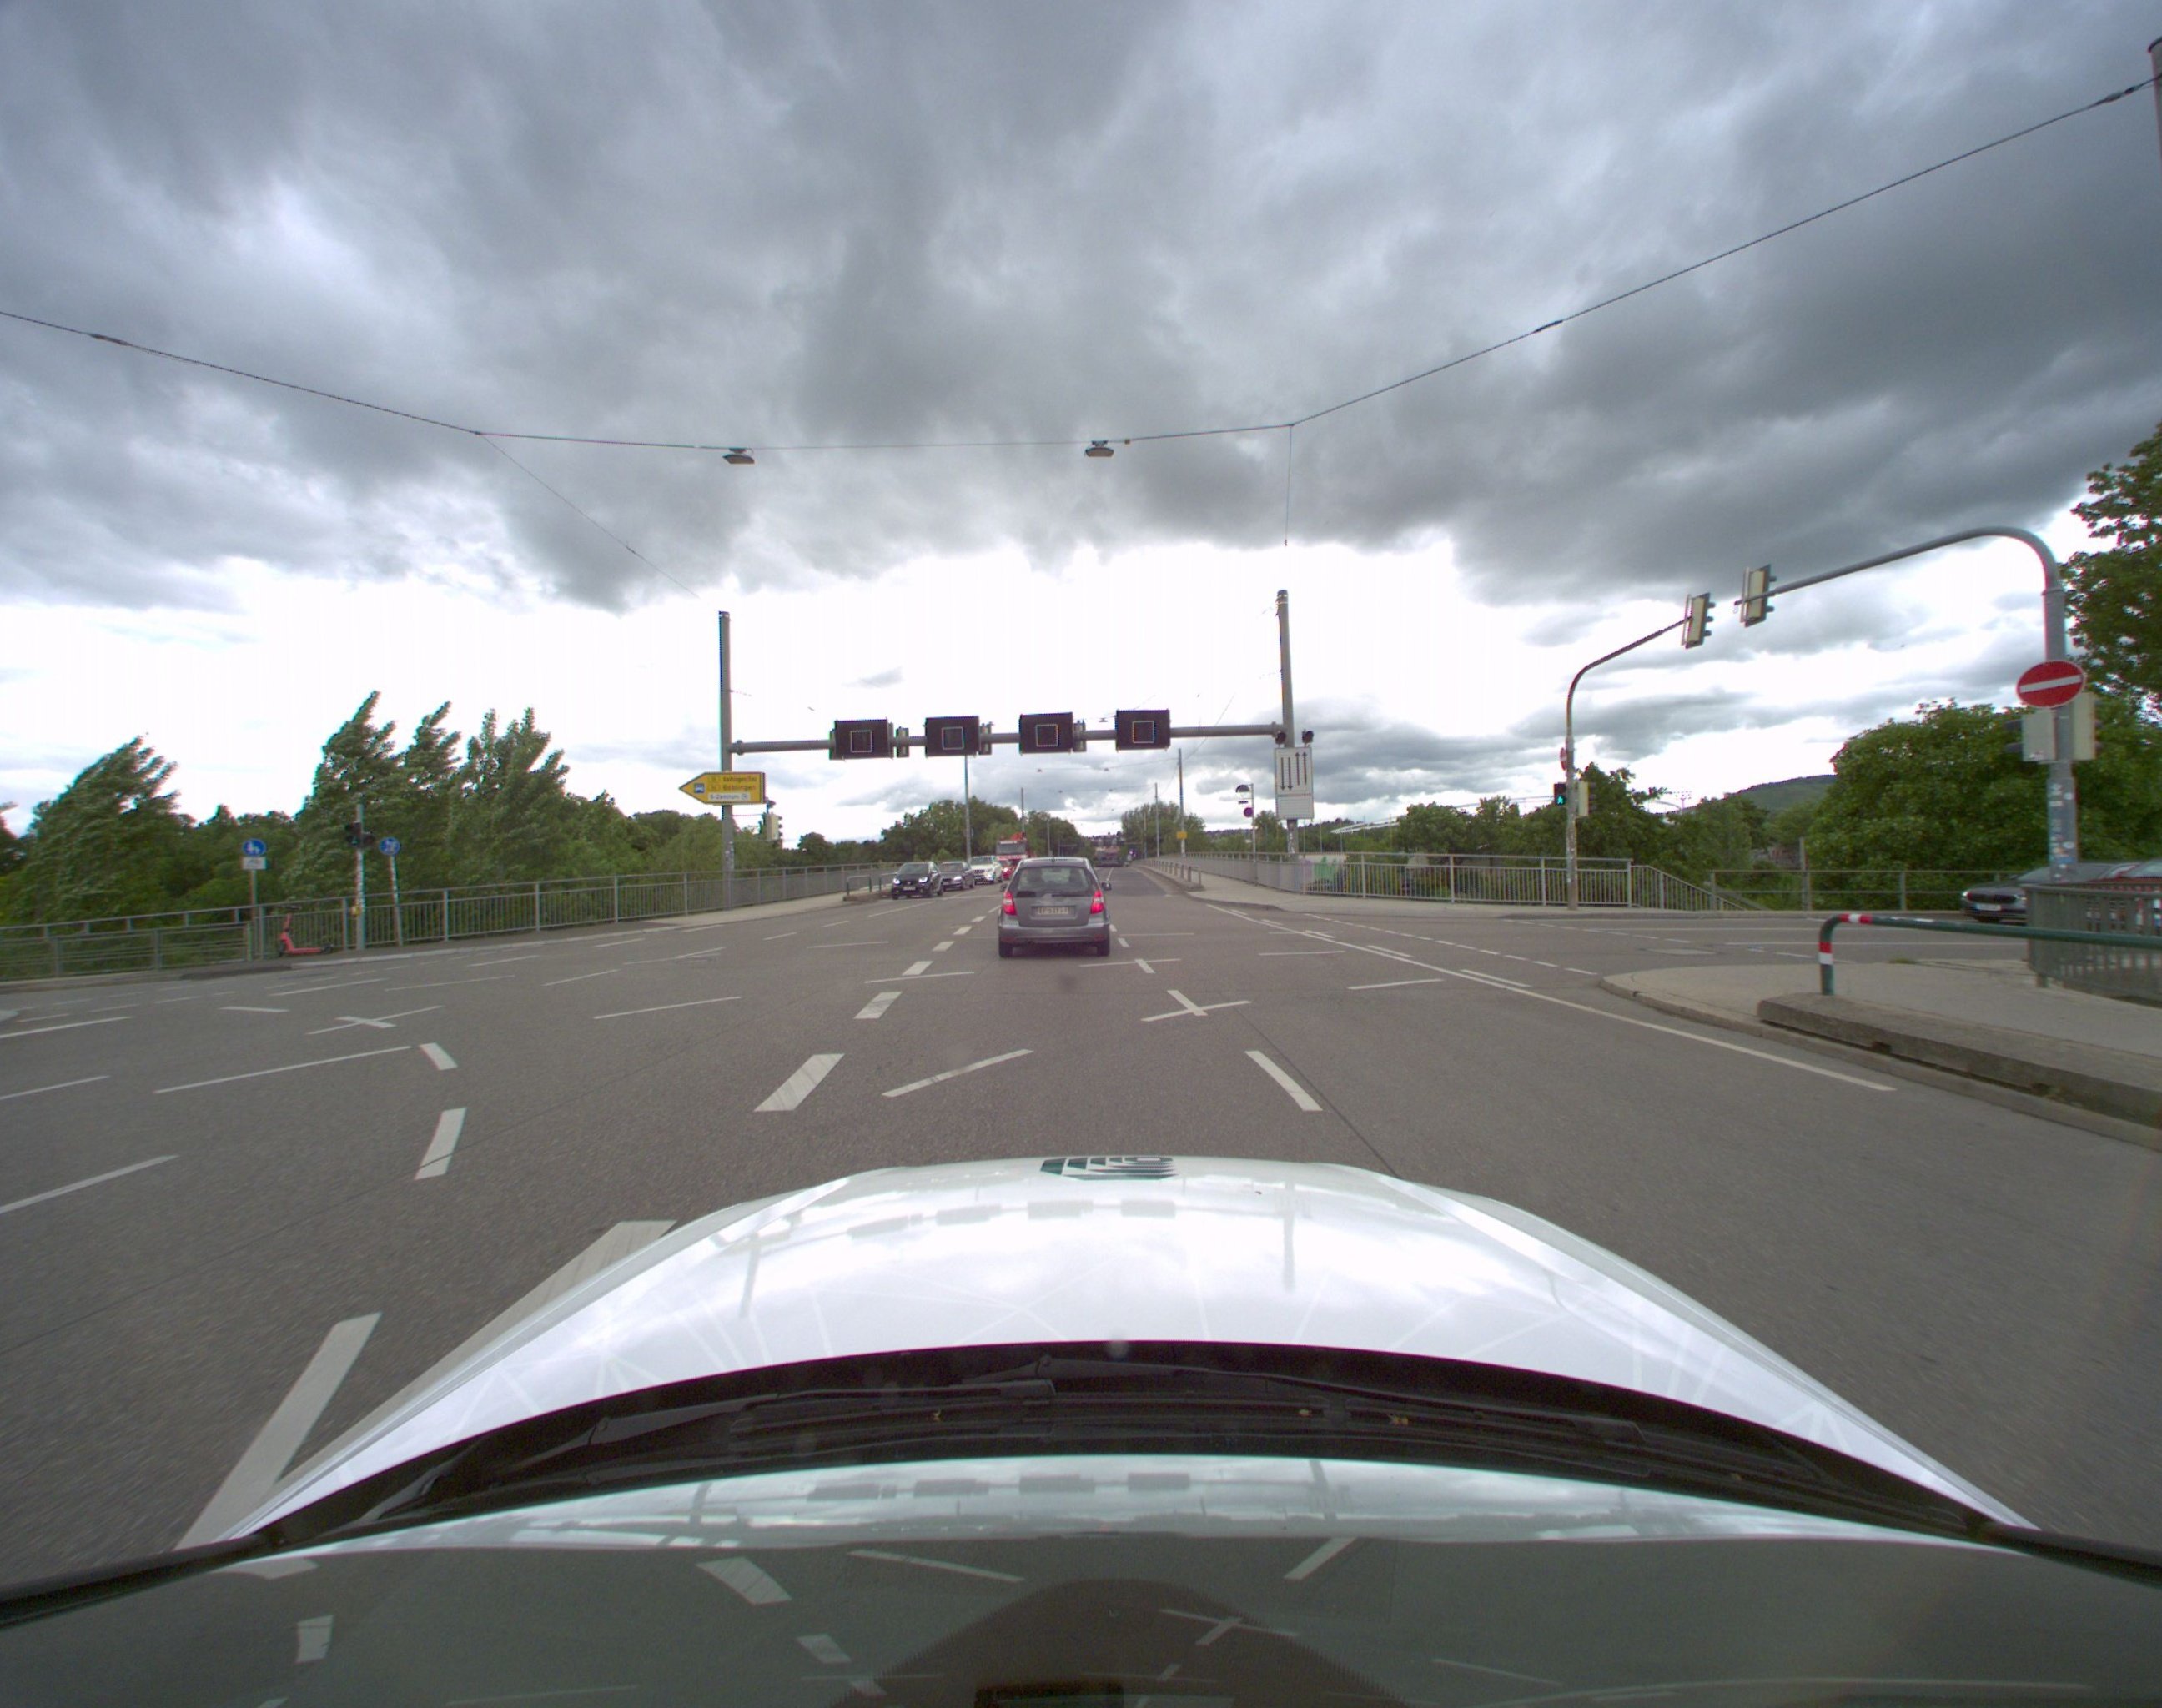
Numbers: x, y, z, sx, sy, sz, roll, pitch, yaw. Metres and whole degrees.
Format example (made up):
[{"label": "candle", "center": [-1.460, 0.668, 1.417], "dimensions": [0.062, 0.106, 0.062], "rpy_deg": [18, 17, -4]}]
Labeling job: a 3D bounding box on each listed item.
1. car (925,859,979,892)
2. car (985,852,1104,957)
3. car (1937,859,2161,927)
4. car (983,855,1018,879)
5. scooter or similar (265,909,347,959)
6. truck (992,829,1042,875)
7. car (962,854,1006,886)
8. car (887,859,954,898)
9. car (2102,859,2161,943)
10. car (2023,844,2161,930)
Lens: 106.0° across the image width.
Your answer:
[{"label": "car", "center": [-6.581, 1.056, 41.937], "dimensions": [1.828, 1.504, 4.519], "rpy_deg": [-3, 0, 2]}, {"label": "car", "center": [-0.493, 0.757, 14.151], "dimensions": [1.738, 1.550, 3.873], "rpy_deg": [-1, 0, 2]}, {"label": "car", "center": [22.020, 0.847, 18.154], "dimensions": [4.127, 1.421, 1.695], "rpy_deg": [0, -2, -1]}, {"label": "car", "center": [-5.775, 0.903, 58.718], "dimensions": [1.872, 1.603, 4.017], "rpy_deg": [-3, 0, 2]}, {"label": "scooter or similar", "center": [-18.481, 1.896, 19.437], "dimensions": [1.330, 1.056, 0.484], "rpy_deg": [-4, 0, -6]}, {"label": "truck", "center": [-5.322, -0.164, 69.647], "dimensions": [2.994, 3.565, 9.987], "rpy_deg": [-3, 0, 2]}, {"label": "car", "center": [-5.941, 0.956, 50.175], "dimensions": [1.872, 1.761, 4.805], "rpy_deg": [-3, 0, 2]}, {"label": "car", "center": [-6.962, 1.041, 35.710], "dimensions": [1.827, 1.504, 3.876], "rpy_deg": [-3, 0, 4]}, {"label": "car", "center": [18.688, 0.738, 12.519], "dimensions": [3.740, 1.313, 1.790], "rpy_deg": [0, -1, 0]}, {"label": "car", "center": [20.800, 0.623, 15.407], "dimensions": [3.982, 1.540, 1.695], "rpy_deg": [0, -2, 0]}]
